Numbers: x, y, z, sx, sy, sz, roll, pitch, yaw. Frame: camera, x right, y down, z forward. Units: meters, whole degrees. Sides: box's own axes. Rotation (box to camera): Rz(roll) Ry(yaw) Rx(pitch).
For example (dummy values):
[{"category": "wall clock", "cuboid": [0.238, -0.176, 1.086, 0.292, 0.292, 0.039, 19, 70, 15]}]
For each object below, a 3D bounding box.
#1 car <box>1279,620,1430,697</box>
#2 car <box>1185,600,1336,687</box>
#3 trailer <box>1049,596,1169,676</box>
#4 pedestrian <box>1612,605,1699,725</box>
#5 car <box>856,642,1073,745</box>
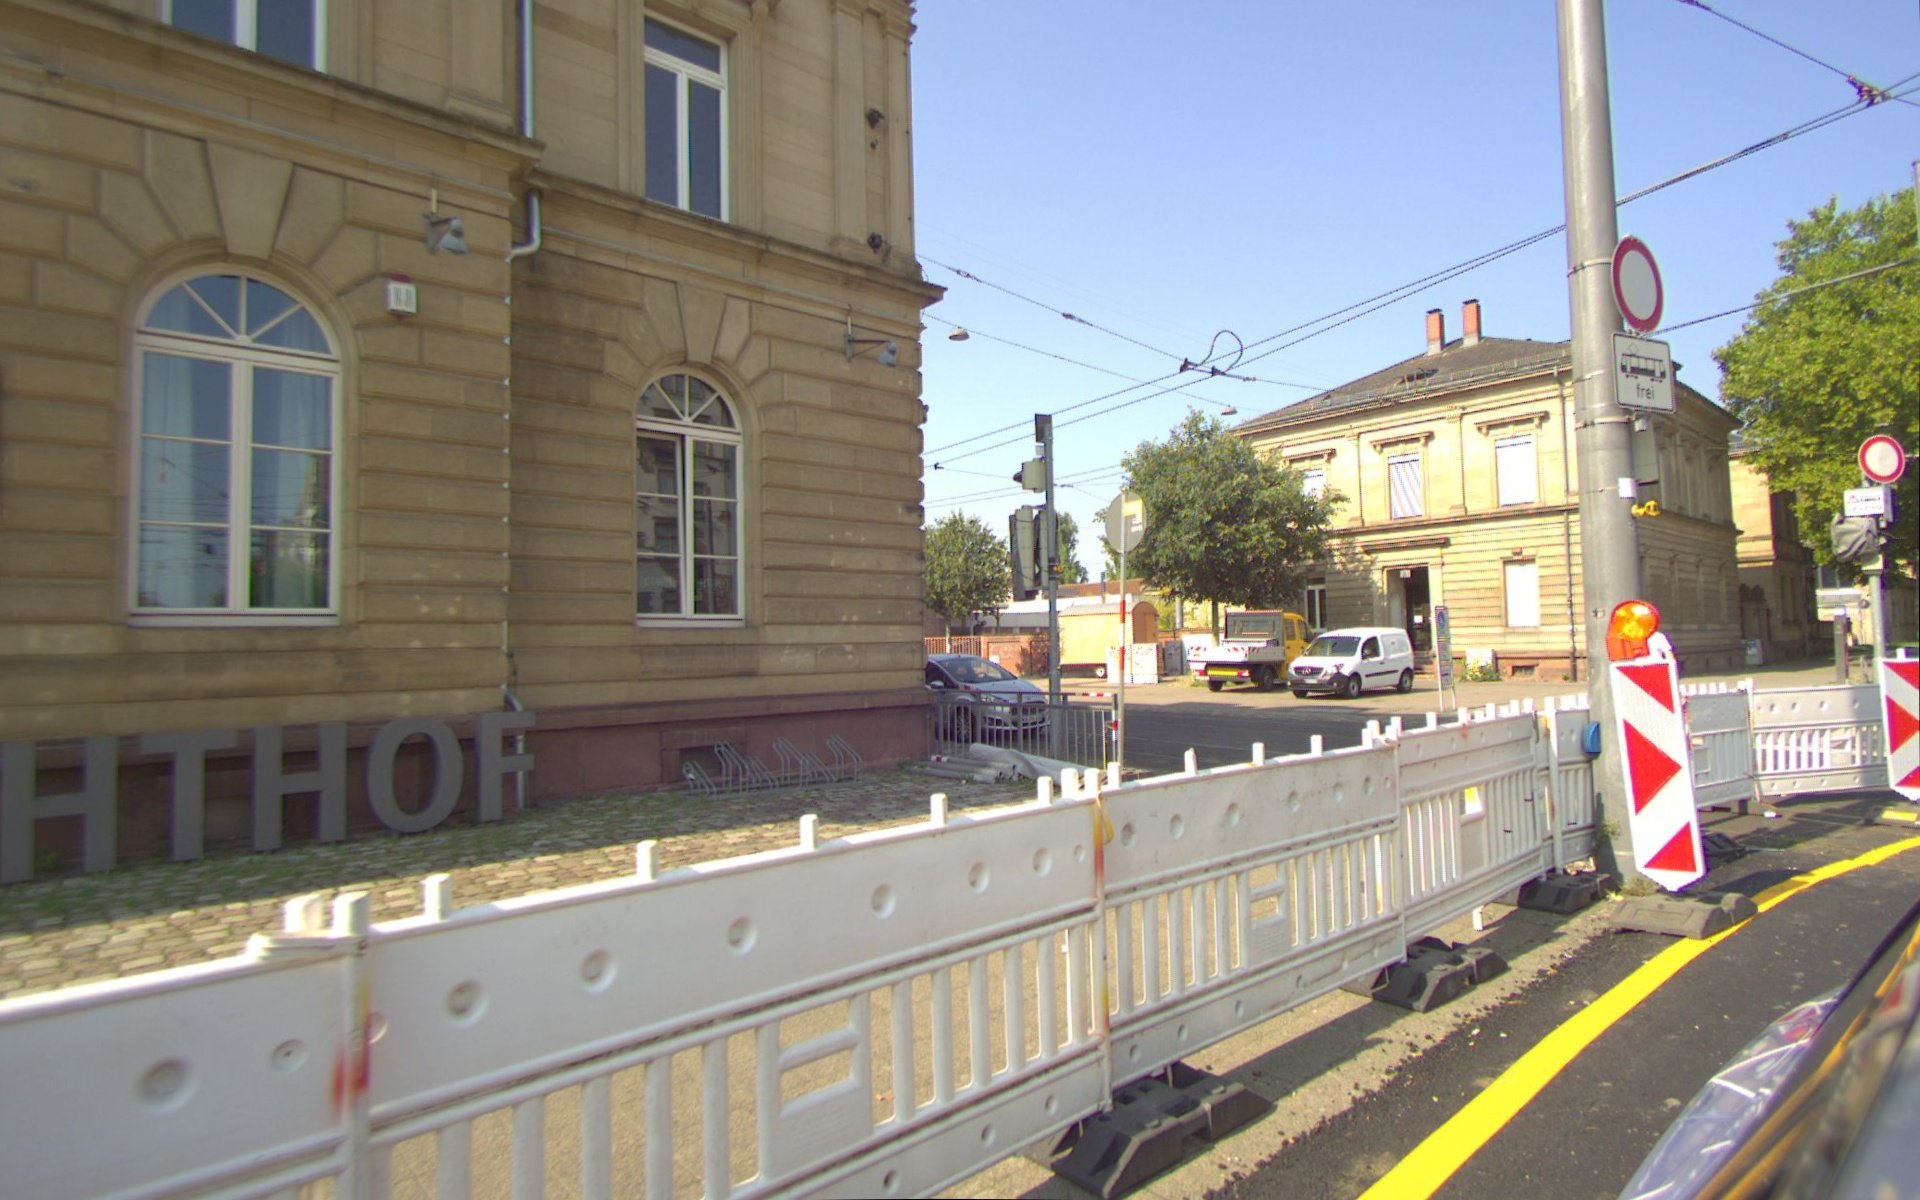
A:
[{"category": "car", "cuboid": [10.650, 1.522, 27.225, 4.148, 1.806, 1.907, -1, -2, -38]}, {"category": "car", "cuboid": [9.365, 1.333, 31.210, 2.256, 2.455, 5.404, -5, -4, 42]}, {"category": "trailer", "cuboid": [6.080, 1.518, 41.512, 4.104, 3.088, 2.476, -4, -3, 43]}, {"category": "pedestrian", "cuboid": [10.594, 0.975, 15.416, 0.659, 1.760, 0.867, 1, -4, -42]}, {"category": "car", "cuboid": [-0.028, 1.546, 17.966, 1.636, 1.556, 4.005, 0, -2, -40]}]
